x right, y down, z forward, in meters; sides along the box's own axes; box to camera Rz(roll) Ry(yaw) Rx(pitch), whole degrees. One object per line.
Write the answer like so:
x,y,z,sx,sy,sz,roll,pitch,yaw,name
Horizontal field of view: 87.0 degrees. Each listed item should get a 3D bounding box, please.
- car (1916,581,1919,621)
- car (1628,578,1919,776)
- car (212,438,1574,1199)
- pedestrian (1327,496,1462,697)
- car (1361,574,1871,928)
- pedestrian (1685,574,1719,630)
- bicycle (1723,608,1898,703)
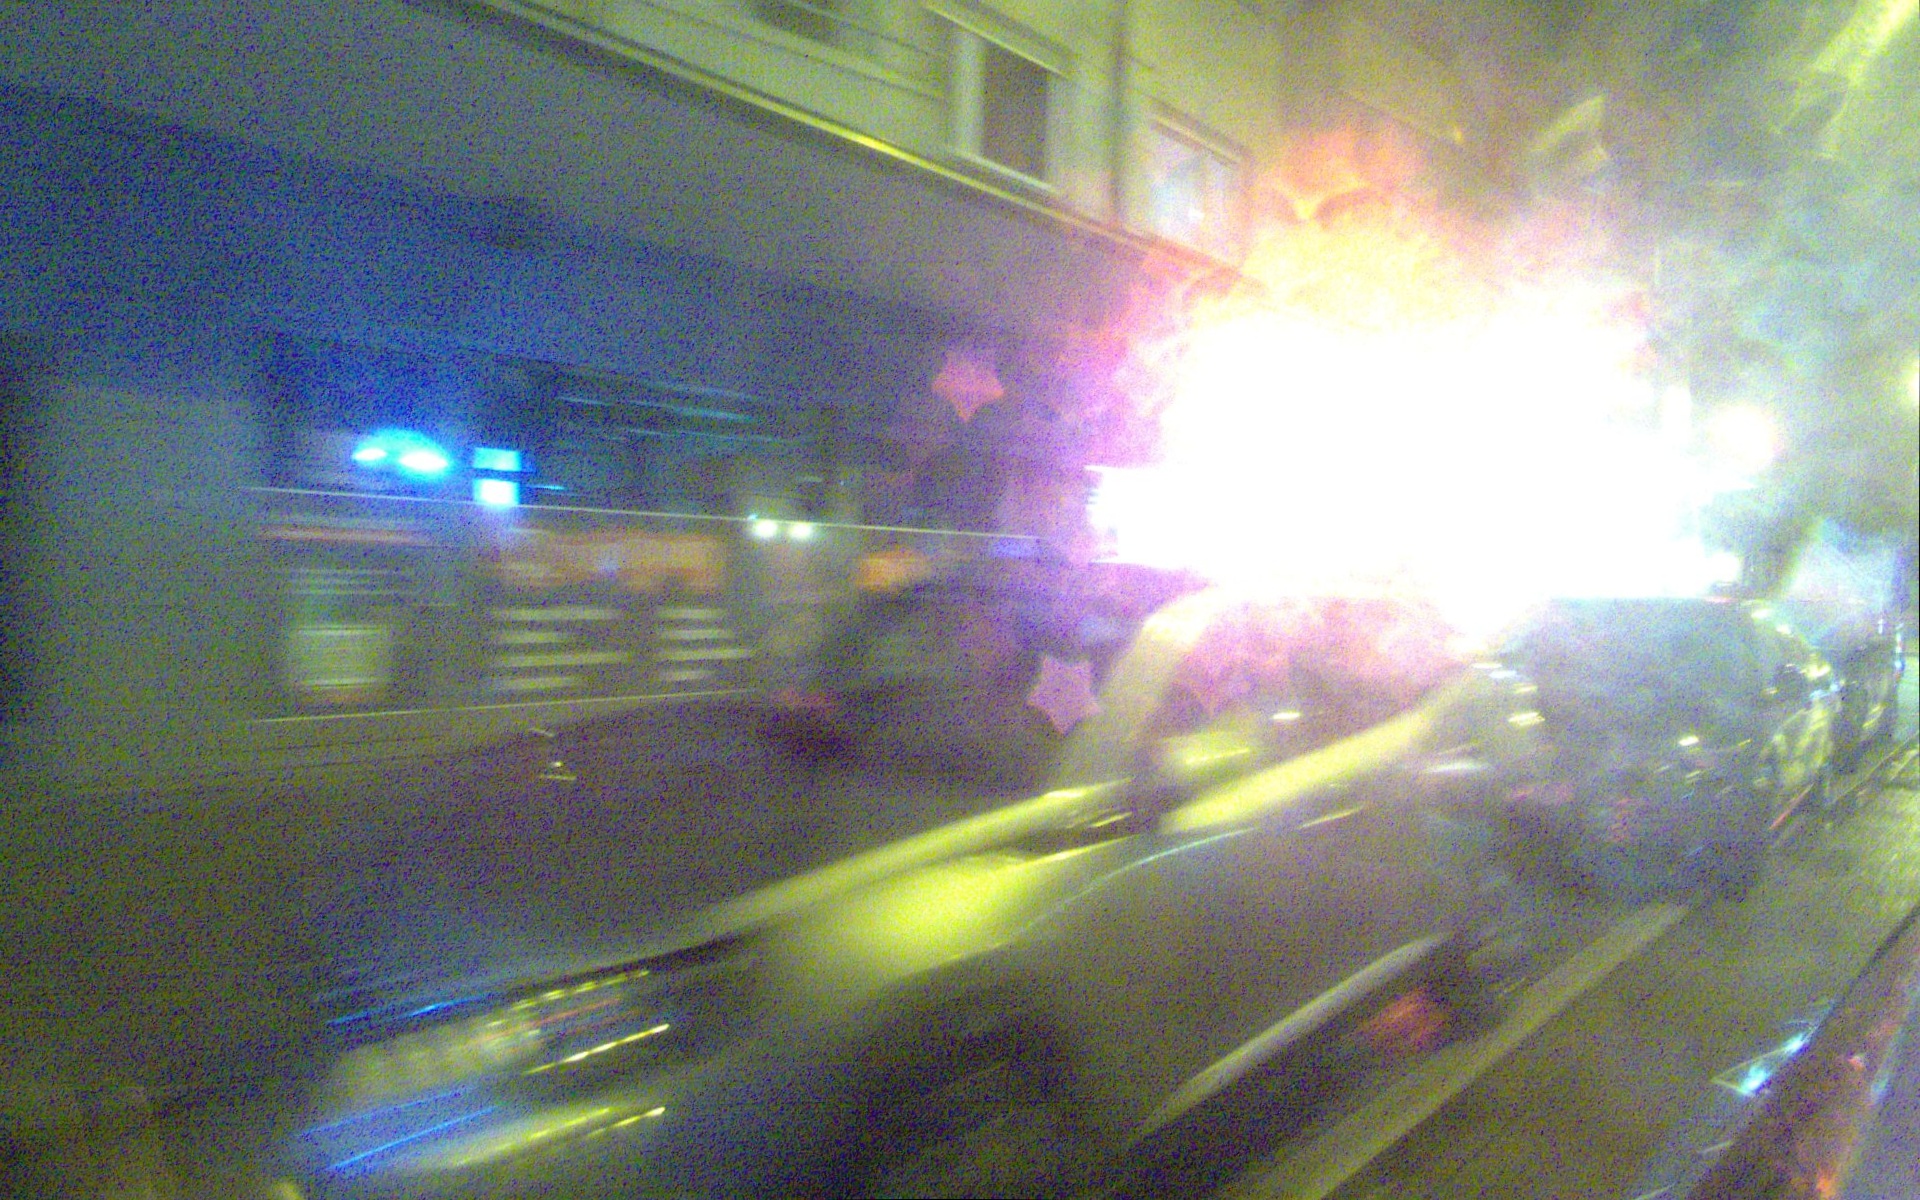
39.934,0.191,38.875,4.213,1.592,1.760,4,3,21,car
8.368,0.582,10.240,4.084,1.585,1.755,-1,2,-43,car
0.247,0.585,3.087,3.922,1.628,1.755,-1,2,-42,car
5.118,-0.076,11.946,0.953,2.235,1.056,0,3,-41,pedestrian
4.460,0.610,6.571,4.324,1.557,1.755,-1,2,-43,car
25.238,0.061,34.416,1.058,1.855,0.676,0,0,-39,pedestrian
11.798,0.737,14.095,0.428,1.138,1.786,1,2,-42,bicycle
